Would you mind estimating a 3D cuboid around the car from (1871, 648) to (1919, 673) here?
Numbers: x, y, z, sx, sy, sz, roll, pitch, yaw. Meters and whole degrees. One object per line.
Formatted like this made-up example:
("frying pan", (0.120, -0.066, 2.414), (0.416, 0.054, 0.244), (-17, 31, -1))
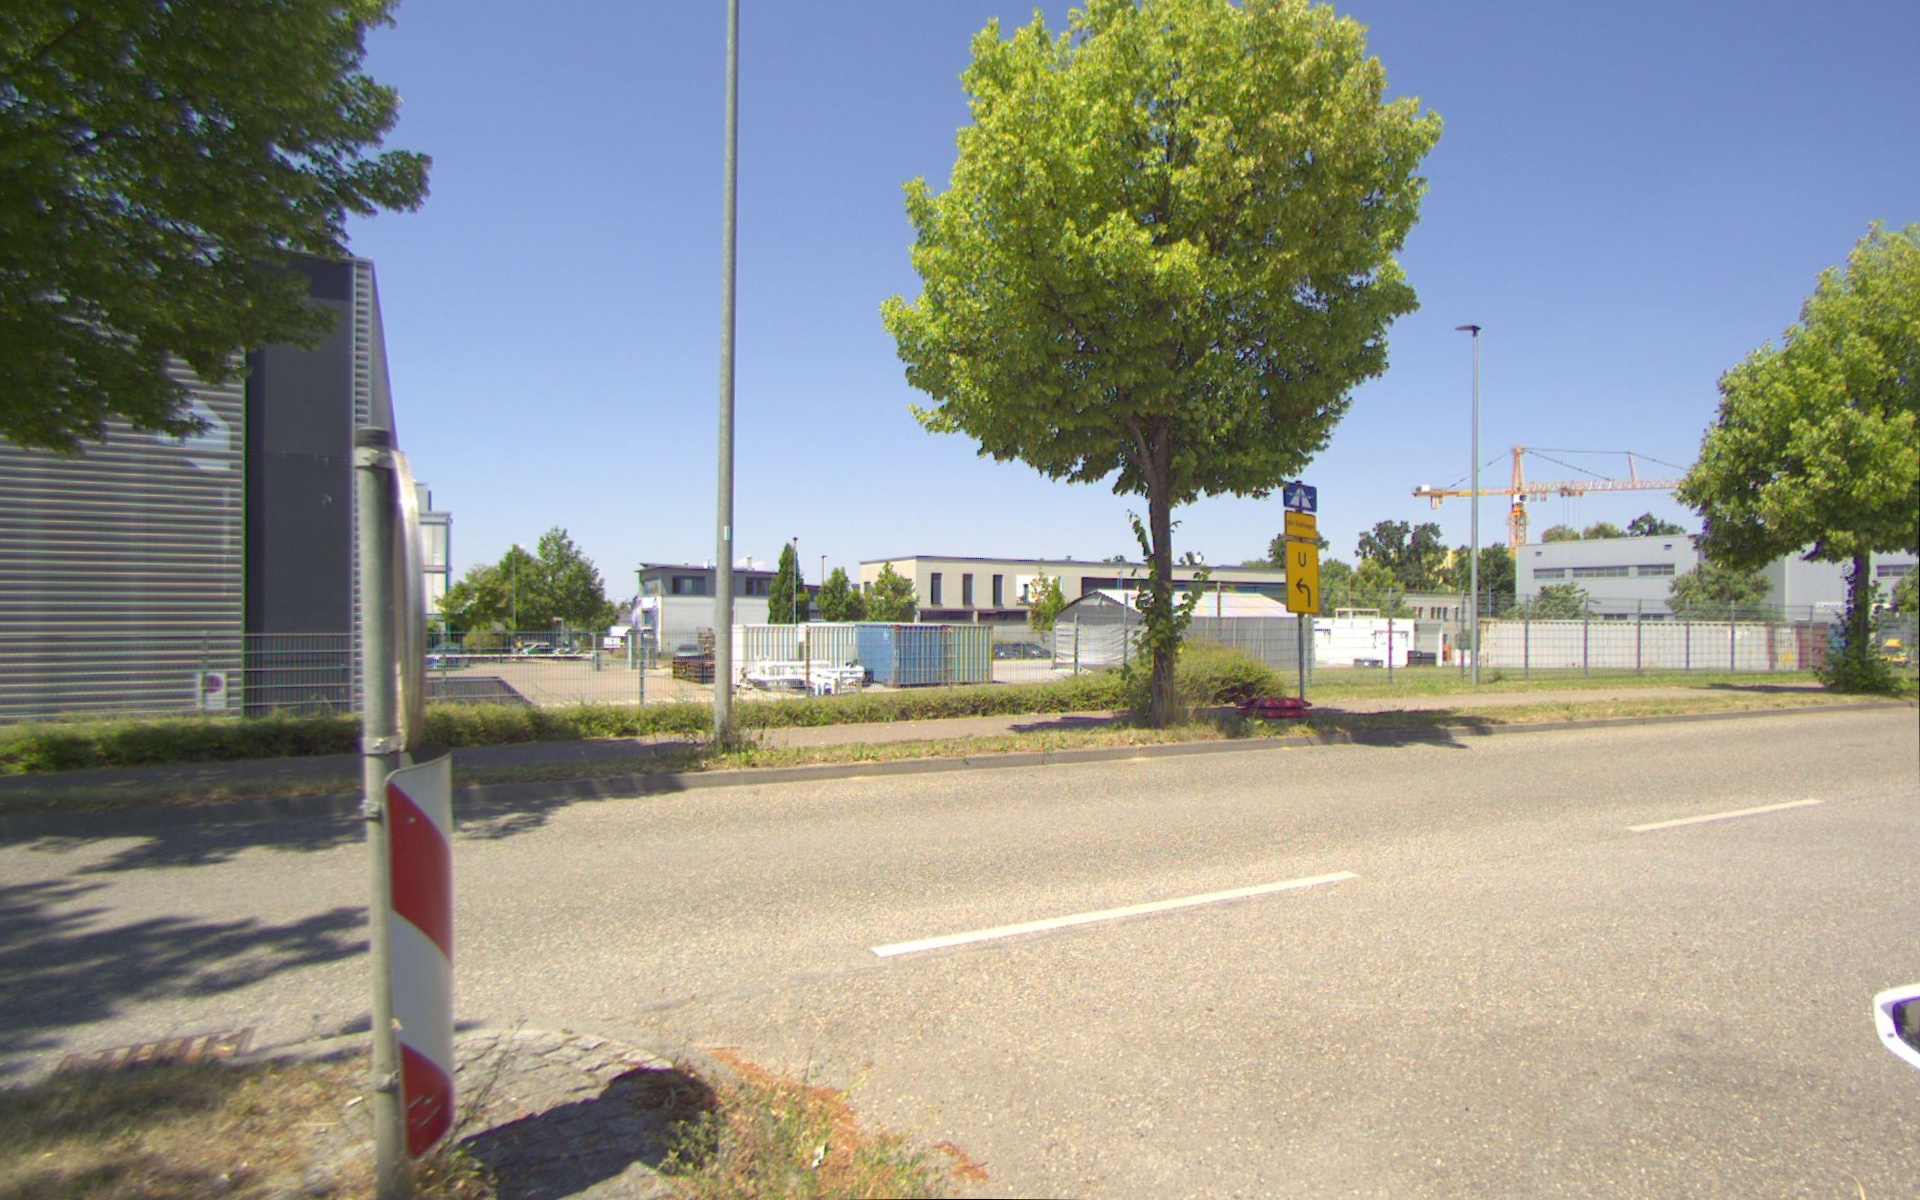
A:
("car", (70.202, 4.495, 75.334), (3.961, 1.572, 1.980), (-2, -1, -36))
